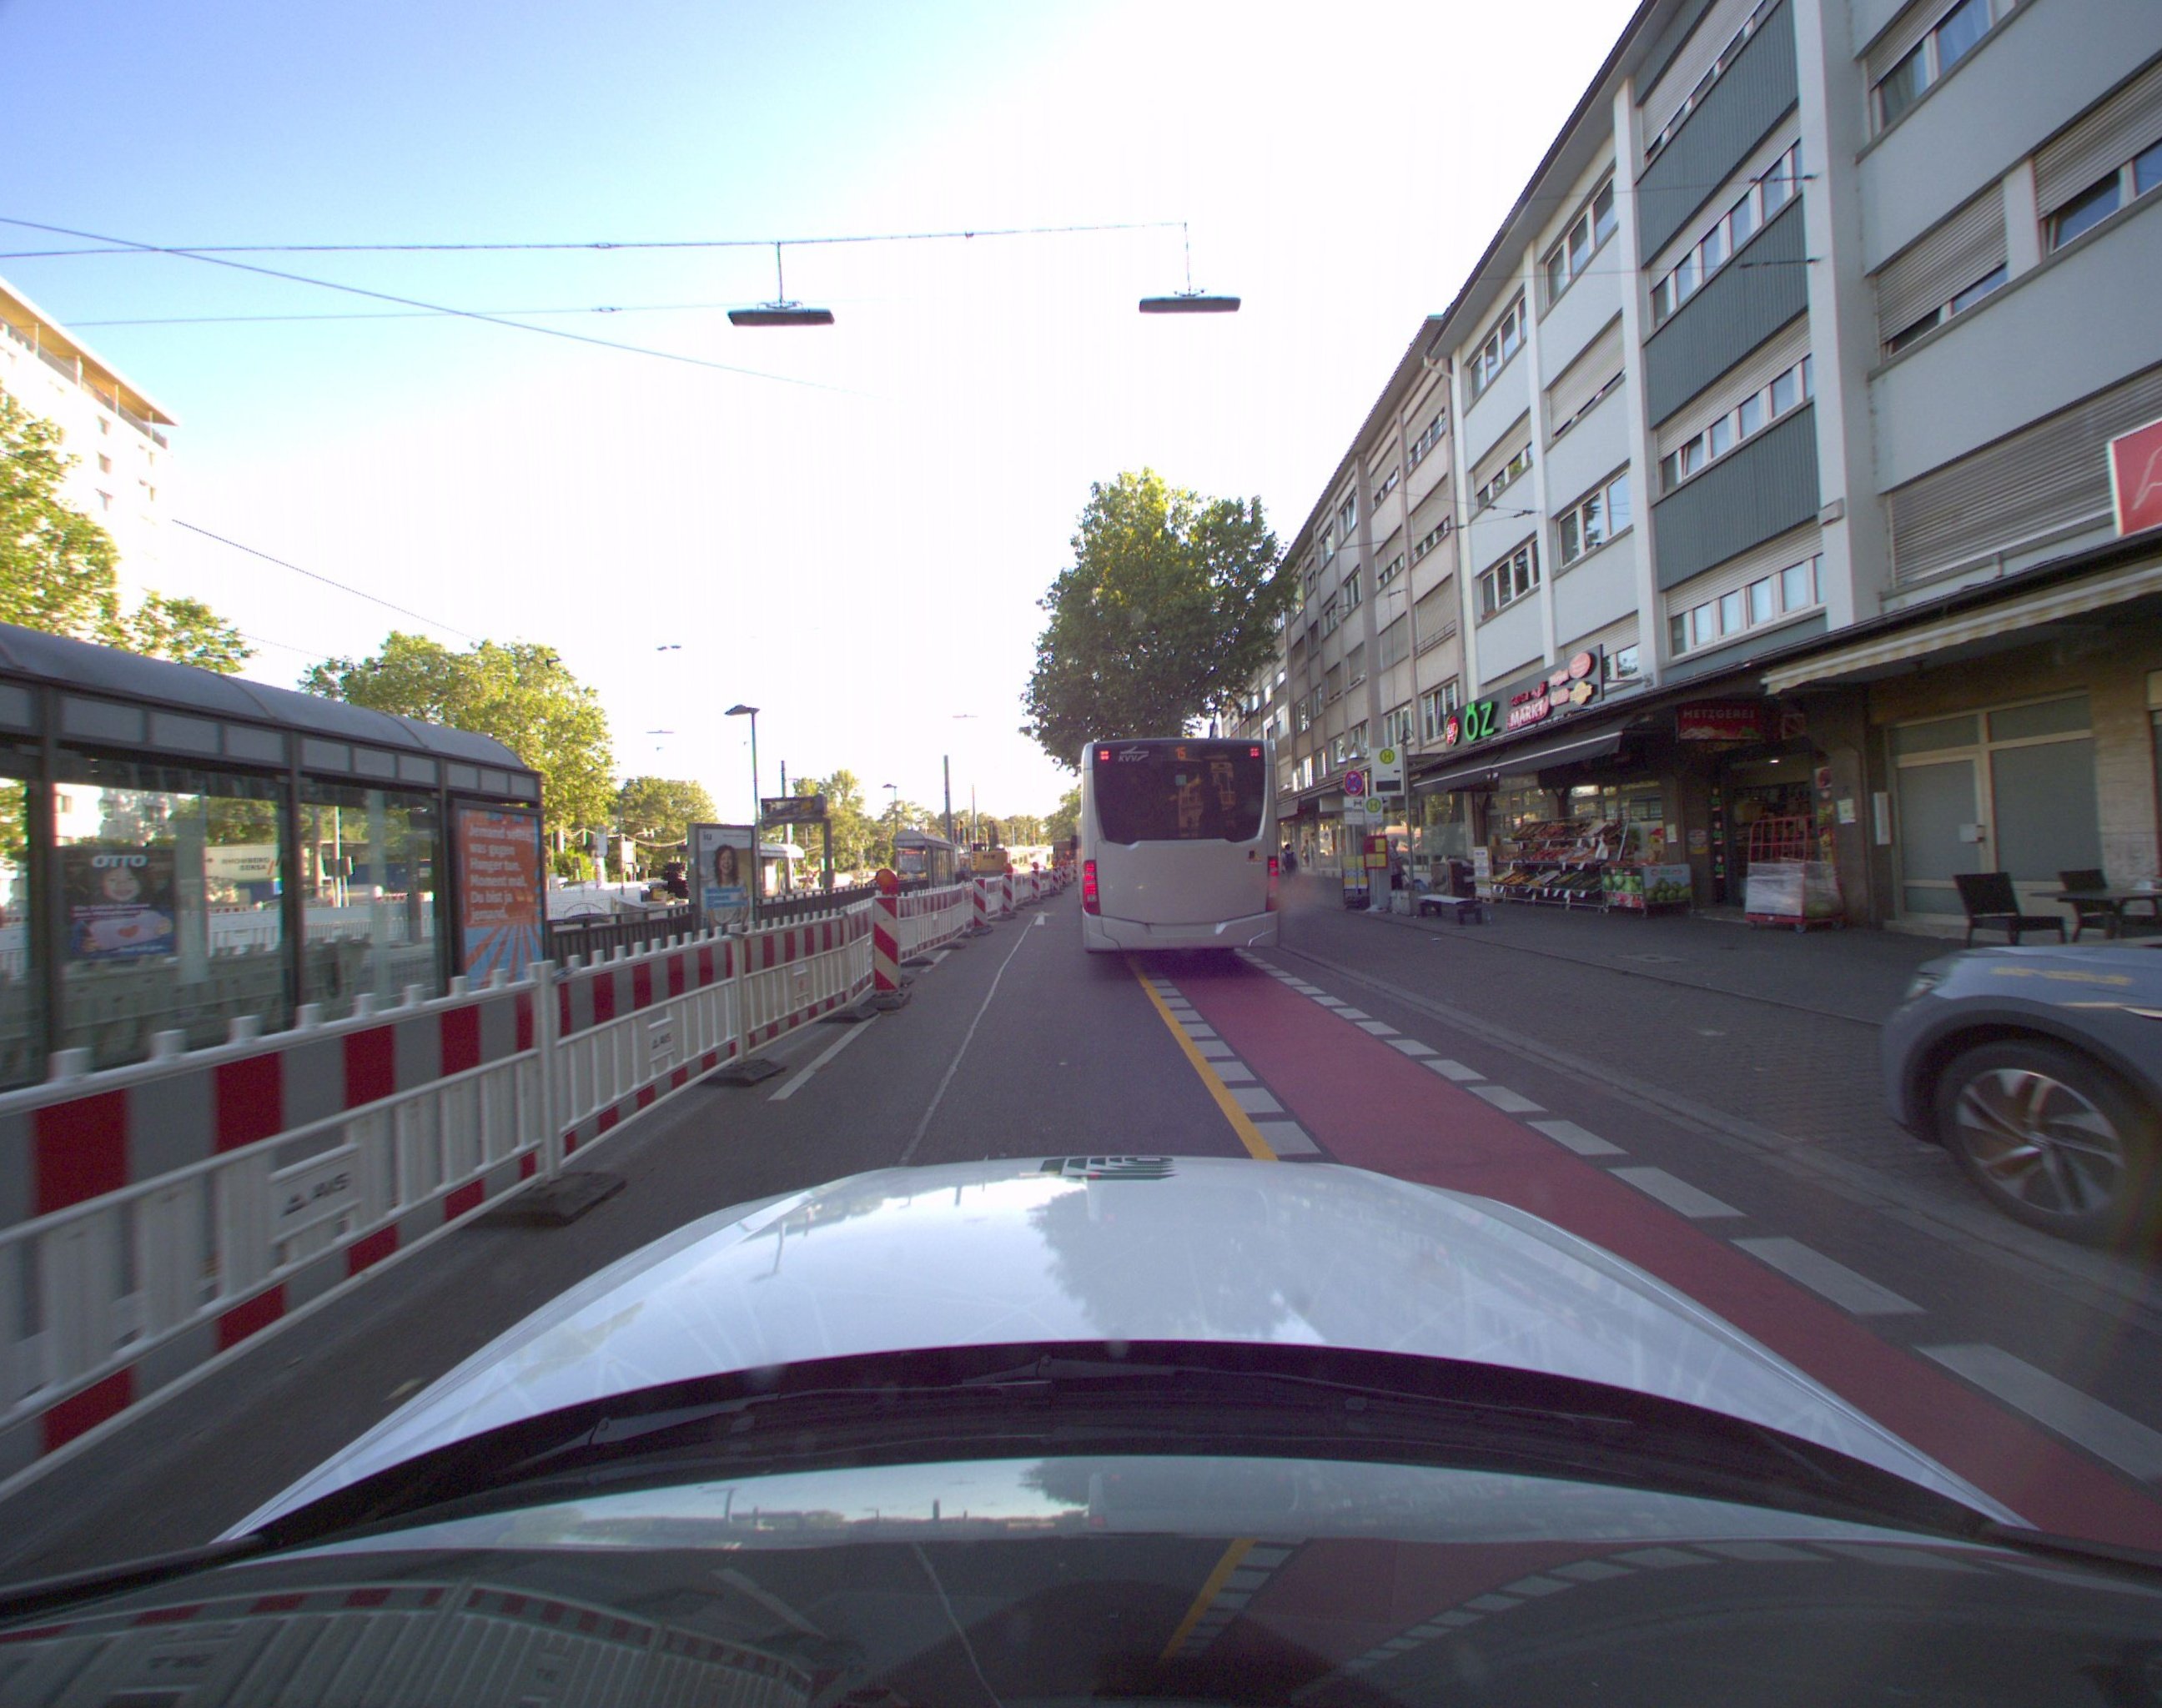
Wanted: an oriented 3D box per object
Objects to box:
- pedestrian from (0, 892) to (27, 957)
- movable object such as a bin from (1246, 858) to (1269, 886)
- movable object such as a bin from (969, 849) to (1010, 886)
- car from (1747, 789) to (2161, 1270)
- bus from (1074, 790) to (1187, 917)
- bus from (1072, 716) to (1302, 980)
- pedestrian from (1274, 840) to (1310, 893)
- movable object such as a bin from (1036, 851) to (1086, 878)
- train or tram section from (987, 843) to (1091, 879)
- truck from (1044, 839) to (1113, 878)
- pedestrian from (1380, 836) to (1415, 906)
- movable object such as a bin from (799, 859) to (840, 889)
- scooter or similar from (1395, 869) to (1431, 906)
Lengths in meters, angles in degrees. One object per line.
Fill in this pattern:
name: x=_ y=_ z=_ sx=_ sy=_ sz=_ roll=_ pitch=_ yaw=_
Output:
pedestrian: x=-34.698 y=2.271 z=26.000 sx=0.881 sy=2.013 sz=0.884 roll=-2 pitch=-1 yaw=3
movable object such as a bin: x=7.209 y=0.722 z=33.310 sx=0.671 sy=1.075 sz=1.228 roll=-3 pitch=1 yaw=1
movable object such as a bin: x=-6.234 y=0.889 z=56.069 sx=2.639 sy=2.318 sz=4.893 roll=-2 pitch=0 yaw=-5
car: x=4.534 y=0.522 z=1.877 sx=1.913 sy=1.597 sz=4.787 roll=-3 pitch=0 yaw=-2
bus: x=1.222 y=0.017 z=25.132 sx=2.701 sy=3.107 sz=8.975 roll=-2 pitch=-1 yaw=-1
bus: x=1.304 y=-0.058 z=15.311 sx=2.724 sy=3.139 sz=10.701 roll=-2 pitch=0 yaw=0
pedestrian: x=7.053 y=0.404 z=27.212 sx=0.840 sy=1.673 sz=0.990 roll=-4 pitch=-1 yaw=0
movable object such as a bin: x=-1.692 y=0.882 z=71.088 sx=1.975 sy=2.256 sz=5.239 roll=-1 pitch=0 yaw=27
train or tram section: x=-4.322 y=0.656 z=88.958 sx=2.822 sy=3.533 sz=13.481 roll=-3 pitch=-1 yaw=39
truck: x=-0.108 y=0.335 z=79.956 sx=2.785 sy=3.541 sz=9.038 roll=-3 pitch=-1 yaw=28
pedestrian: x=7.758 y=0.407 z=19.972 sx=0.642 sy=1.673 sz=0.557 roll=-2 pitch=-1 yaw=8
movable object such as a bin: x=-24.481 y=1.848 z=76.459 sx=2.142 sy=2.639 sz=4.602 roll=-3 pitch=-1 yaw=2
scooter or similar: x=7.852 y=0.790 z=19.281 sx=0.573 sy=0.844 sz=0.734 roll=-2 pitch=-1 yaw=4
